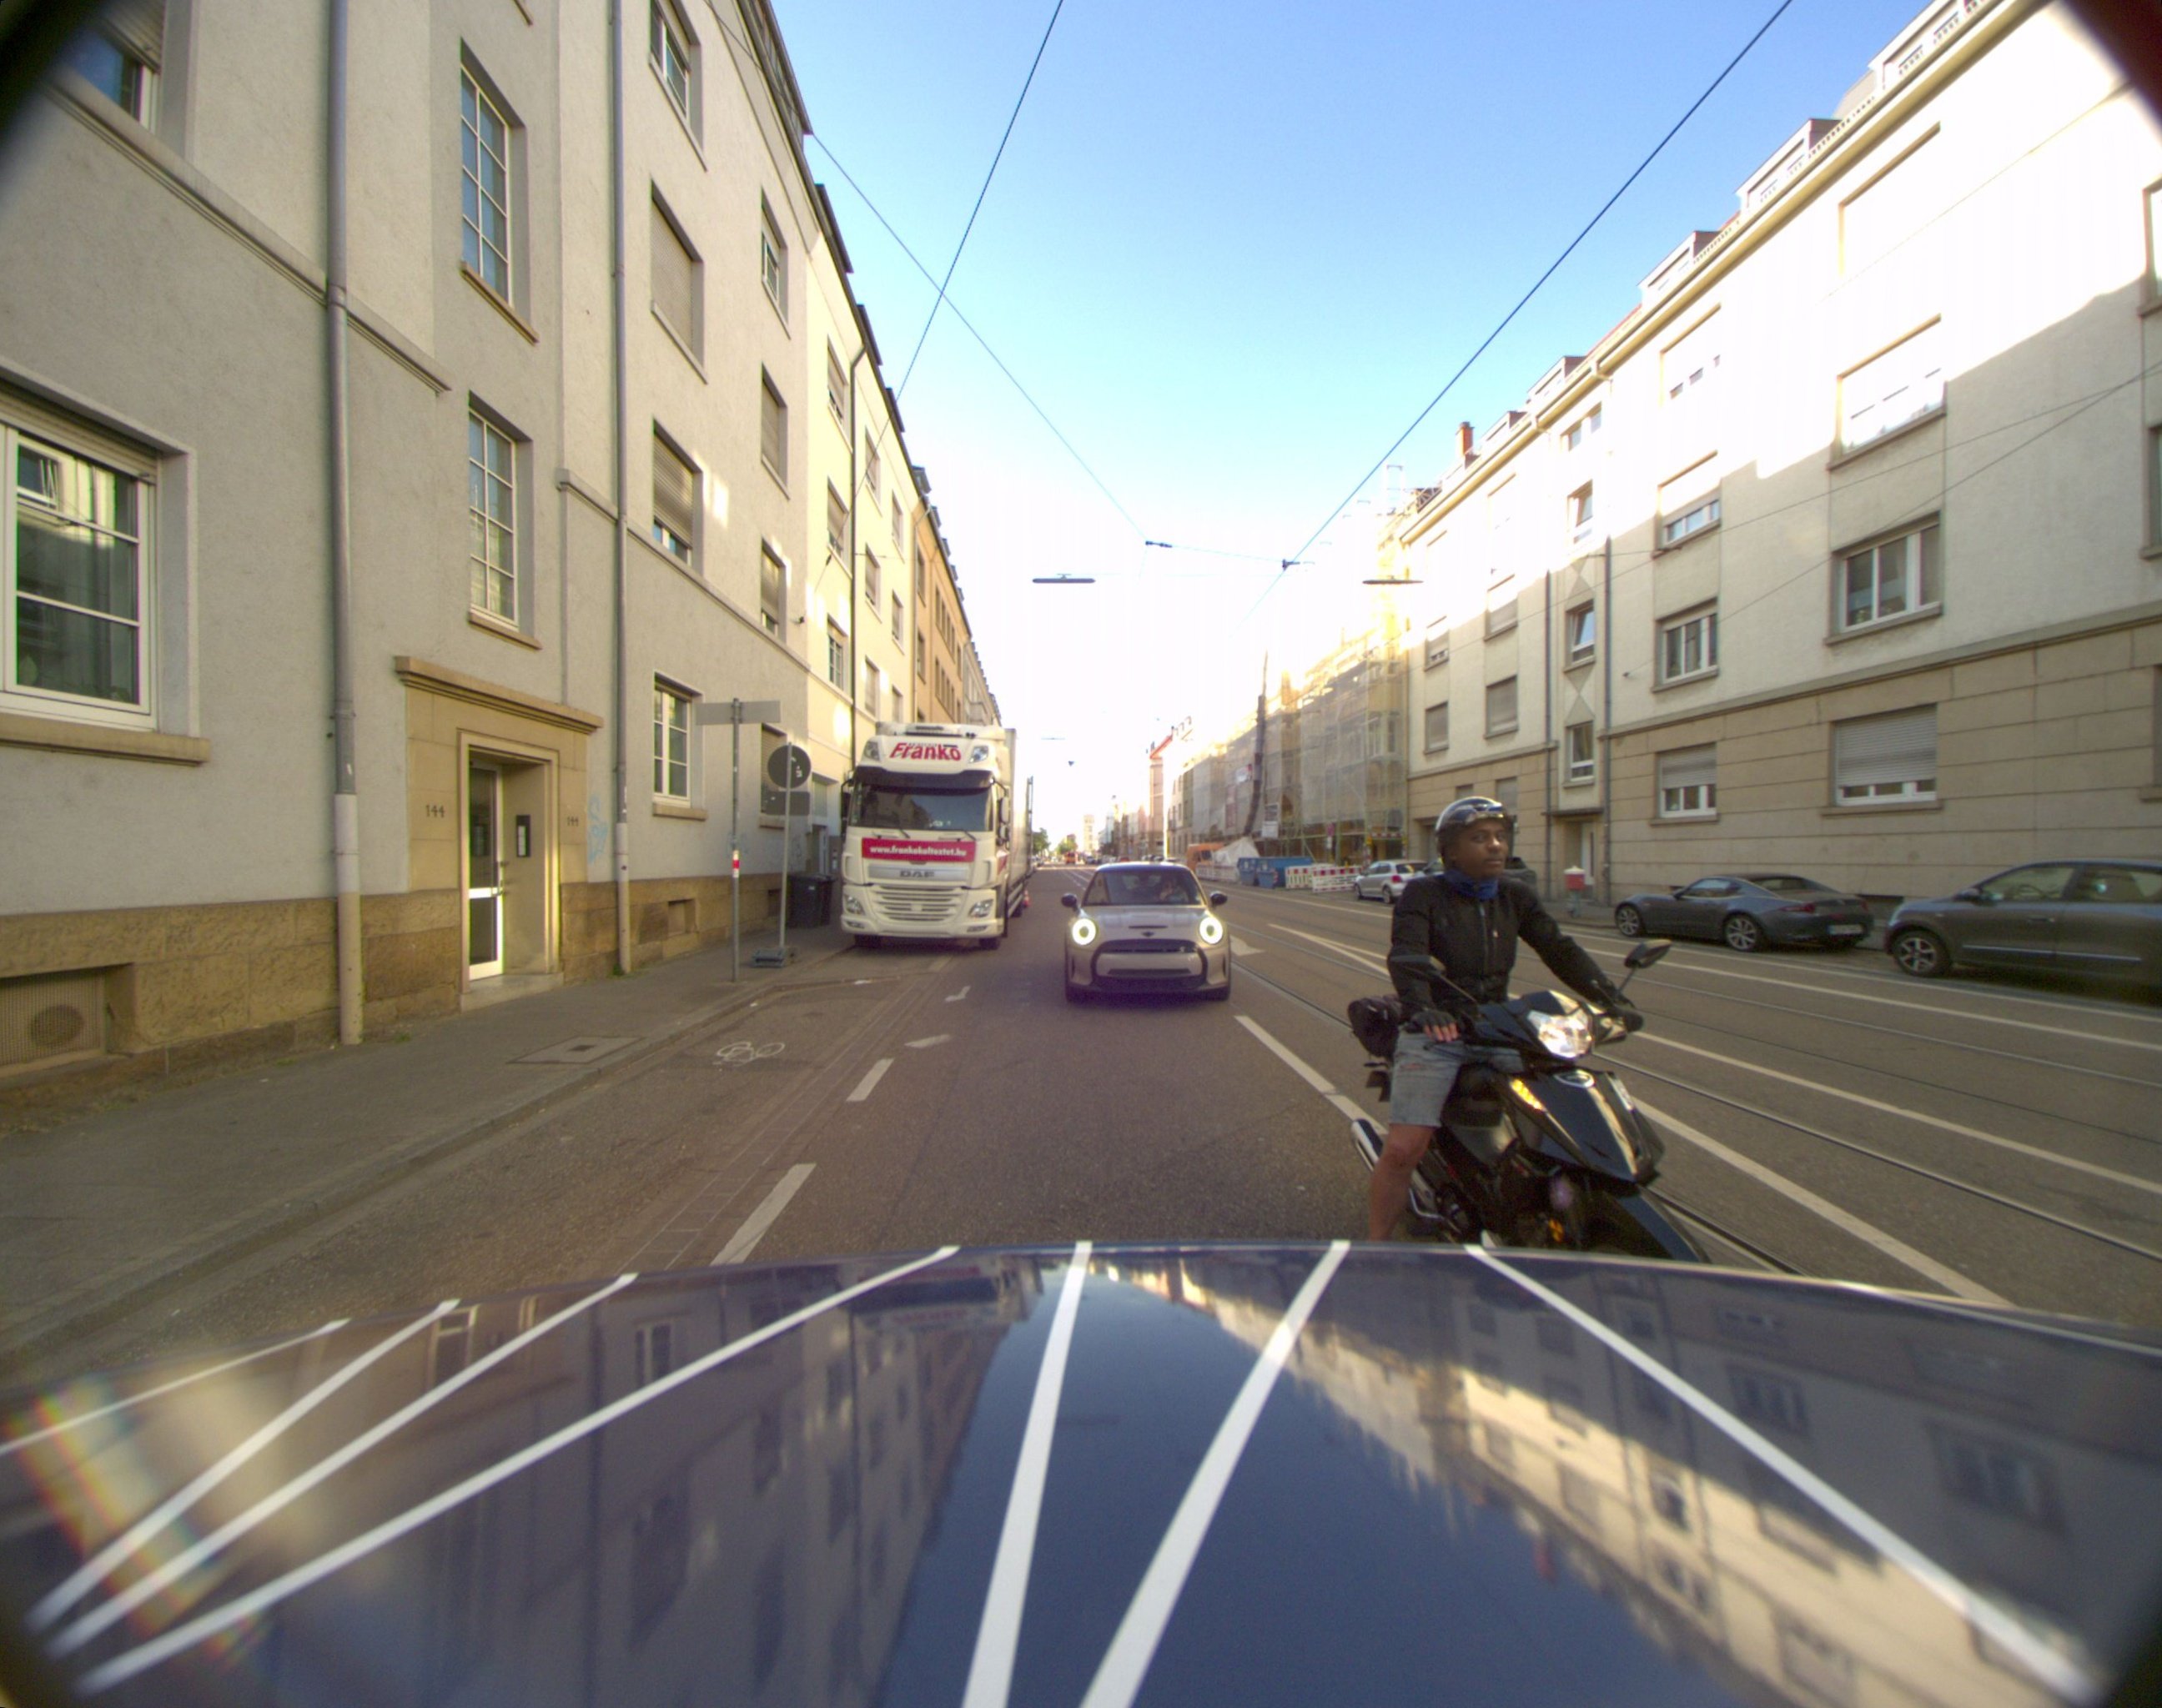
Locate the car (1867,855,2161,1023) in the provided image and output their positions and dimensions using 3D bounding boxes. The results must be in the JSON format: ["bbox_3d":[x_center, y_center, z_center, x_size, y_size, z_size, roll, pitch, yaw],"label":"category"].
[{"bbox_3d":[11.415,0.841,8.438,1.670,1.563,3.496,-2,1,-2],"label":"car"}]

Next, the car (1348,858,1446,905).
[{"bbox_3d":[10.641,0.872,25.833,1.637,1.383,3.643,-2,1,-3],"label":"car"}]

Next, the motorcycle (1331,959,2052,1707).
[{"bbox_3d":[1.339,1.070,2.244,0.538,1.212,1.981,-2,1,1],"label":"motorcycle"}]

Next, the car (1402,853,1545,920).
[{"bbox_3d":[10.808,0.825,21.305,1.712,1.582,4.112,-2,1,-3],"label":"car"}]

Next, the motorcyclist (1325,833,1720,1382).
[{"bbox_3d":[1.318,0.704,2.396,0.862,1.496,0.598,-2,1,1],"label":"motorcyclist"}]

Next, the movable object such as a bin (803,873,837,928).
[{"bbox_3d":[-5.357,0.947,15.605,0.512,1.085,0.495,-2,1,-4],"label":"movable object such as a bin"}]

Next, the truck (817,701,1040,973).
[{"bbox_3d":[-2.584,-0.249,17.166,2.899,3.939,11.704,-2,0,-2],"label":"truck"}]

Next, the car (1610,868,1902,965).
[{"bbox_3d":[11.211,0.958,12.979,1.751,1.269,3.488,-2,1,-4],"label":"car"}]

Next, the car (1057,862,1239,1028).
[{"bbox_3d":[0.618,0.865,9.063,1.692,1.495,4.000,0,0,0],"label":"car"}]

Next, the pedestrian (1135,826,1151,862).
[{"bbox_3d":[7.668,-1.281,94.355,1.723,4.377,1.153,-2,1,2],"label":"pedestrian"}]

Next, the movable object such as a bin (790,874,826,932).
[{"bbox_3d":[-5.385,0.956,15.005,0.512,1.085,0.495,-2,1,-4],"label":"movable object such as a bin"}]
